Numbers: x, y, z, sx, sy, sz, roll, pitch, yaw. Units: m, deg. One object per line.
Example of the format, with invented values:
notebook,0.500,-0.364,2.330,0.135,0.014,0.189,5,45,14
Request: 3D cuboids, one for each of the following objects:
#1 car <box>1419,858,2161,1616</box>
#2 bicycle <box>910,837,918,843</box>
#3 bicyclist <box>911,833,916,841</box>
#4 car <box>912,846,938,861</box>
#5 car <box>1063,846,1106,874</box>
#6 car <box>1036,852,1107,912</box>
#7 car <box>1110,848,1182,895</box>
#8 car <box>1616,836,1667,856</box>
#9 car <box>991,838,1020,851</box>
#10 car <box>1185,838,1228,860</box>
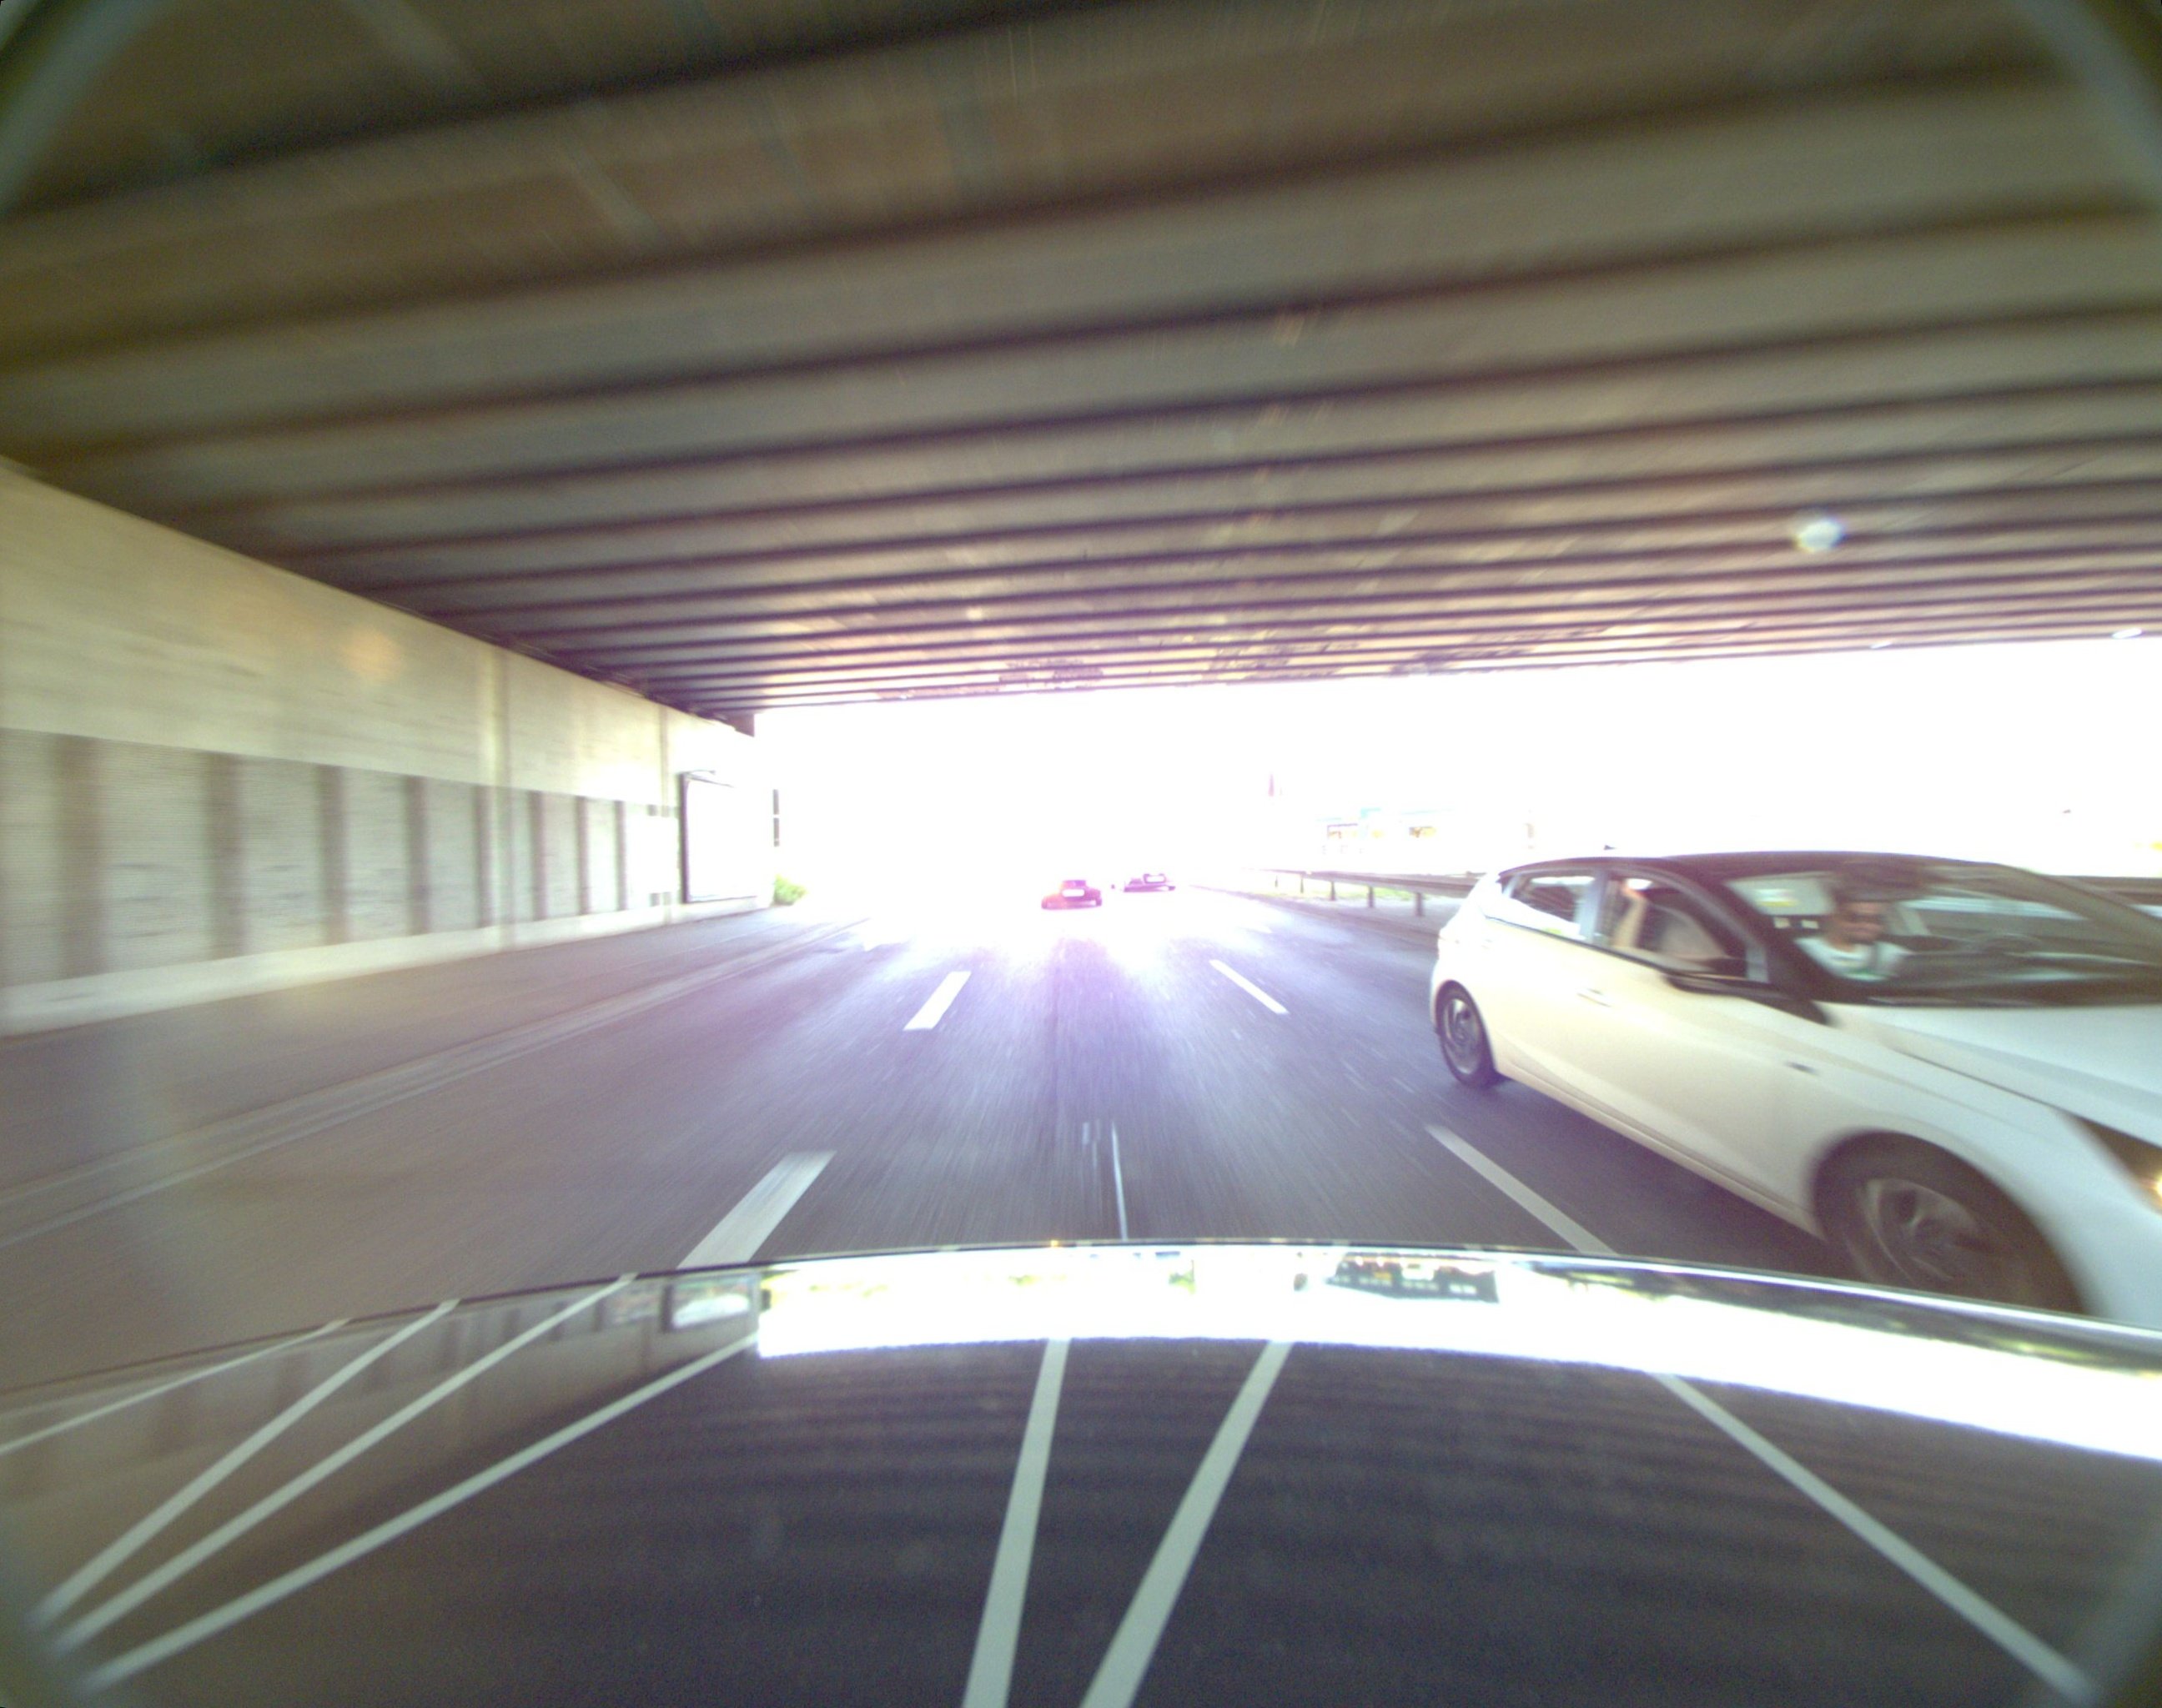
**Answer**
car,3.085,0.801,2.982,1.737,1.471,3.991,-2,0,1
bicycle,-28.819,-2.391,131.006,0.594,1.018,1.745,-4,3,-38
bicyclist,-28.838,-2.906,130.977,0.594,1.419,0.707,-4,2,-38
car,-16.143,-0.034,78.471,1.852,1.474,3.974,-1,0,-23
car,0.148,0.359,43.403,1.850,1.515,3.979,-2,0,-8
car,-0.221,0.701,21.278,1.737,1.412,4.318,-2,1,1
car,2.159,0.534,26.363,1.849,1.412,3.979,-2,1,-4
car,38.074,-0.559,51.591,4.191,1.274,1.825,0,1,-39
car,-9.556,-1.216,95.630,1.834,1.578,4.172,-1,1,-33
car,9.348,-0.368,56.851,1.625,1.511,3.819,-1,1,-17
